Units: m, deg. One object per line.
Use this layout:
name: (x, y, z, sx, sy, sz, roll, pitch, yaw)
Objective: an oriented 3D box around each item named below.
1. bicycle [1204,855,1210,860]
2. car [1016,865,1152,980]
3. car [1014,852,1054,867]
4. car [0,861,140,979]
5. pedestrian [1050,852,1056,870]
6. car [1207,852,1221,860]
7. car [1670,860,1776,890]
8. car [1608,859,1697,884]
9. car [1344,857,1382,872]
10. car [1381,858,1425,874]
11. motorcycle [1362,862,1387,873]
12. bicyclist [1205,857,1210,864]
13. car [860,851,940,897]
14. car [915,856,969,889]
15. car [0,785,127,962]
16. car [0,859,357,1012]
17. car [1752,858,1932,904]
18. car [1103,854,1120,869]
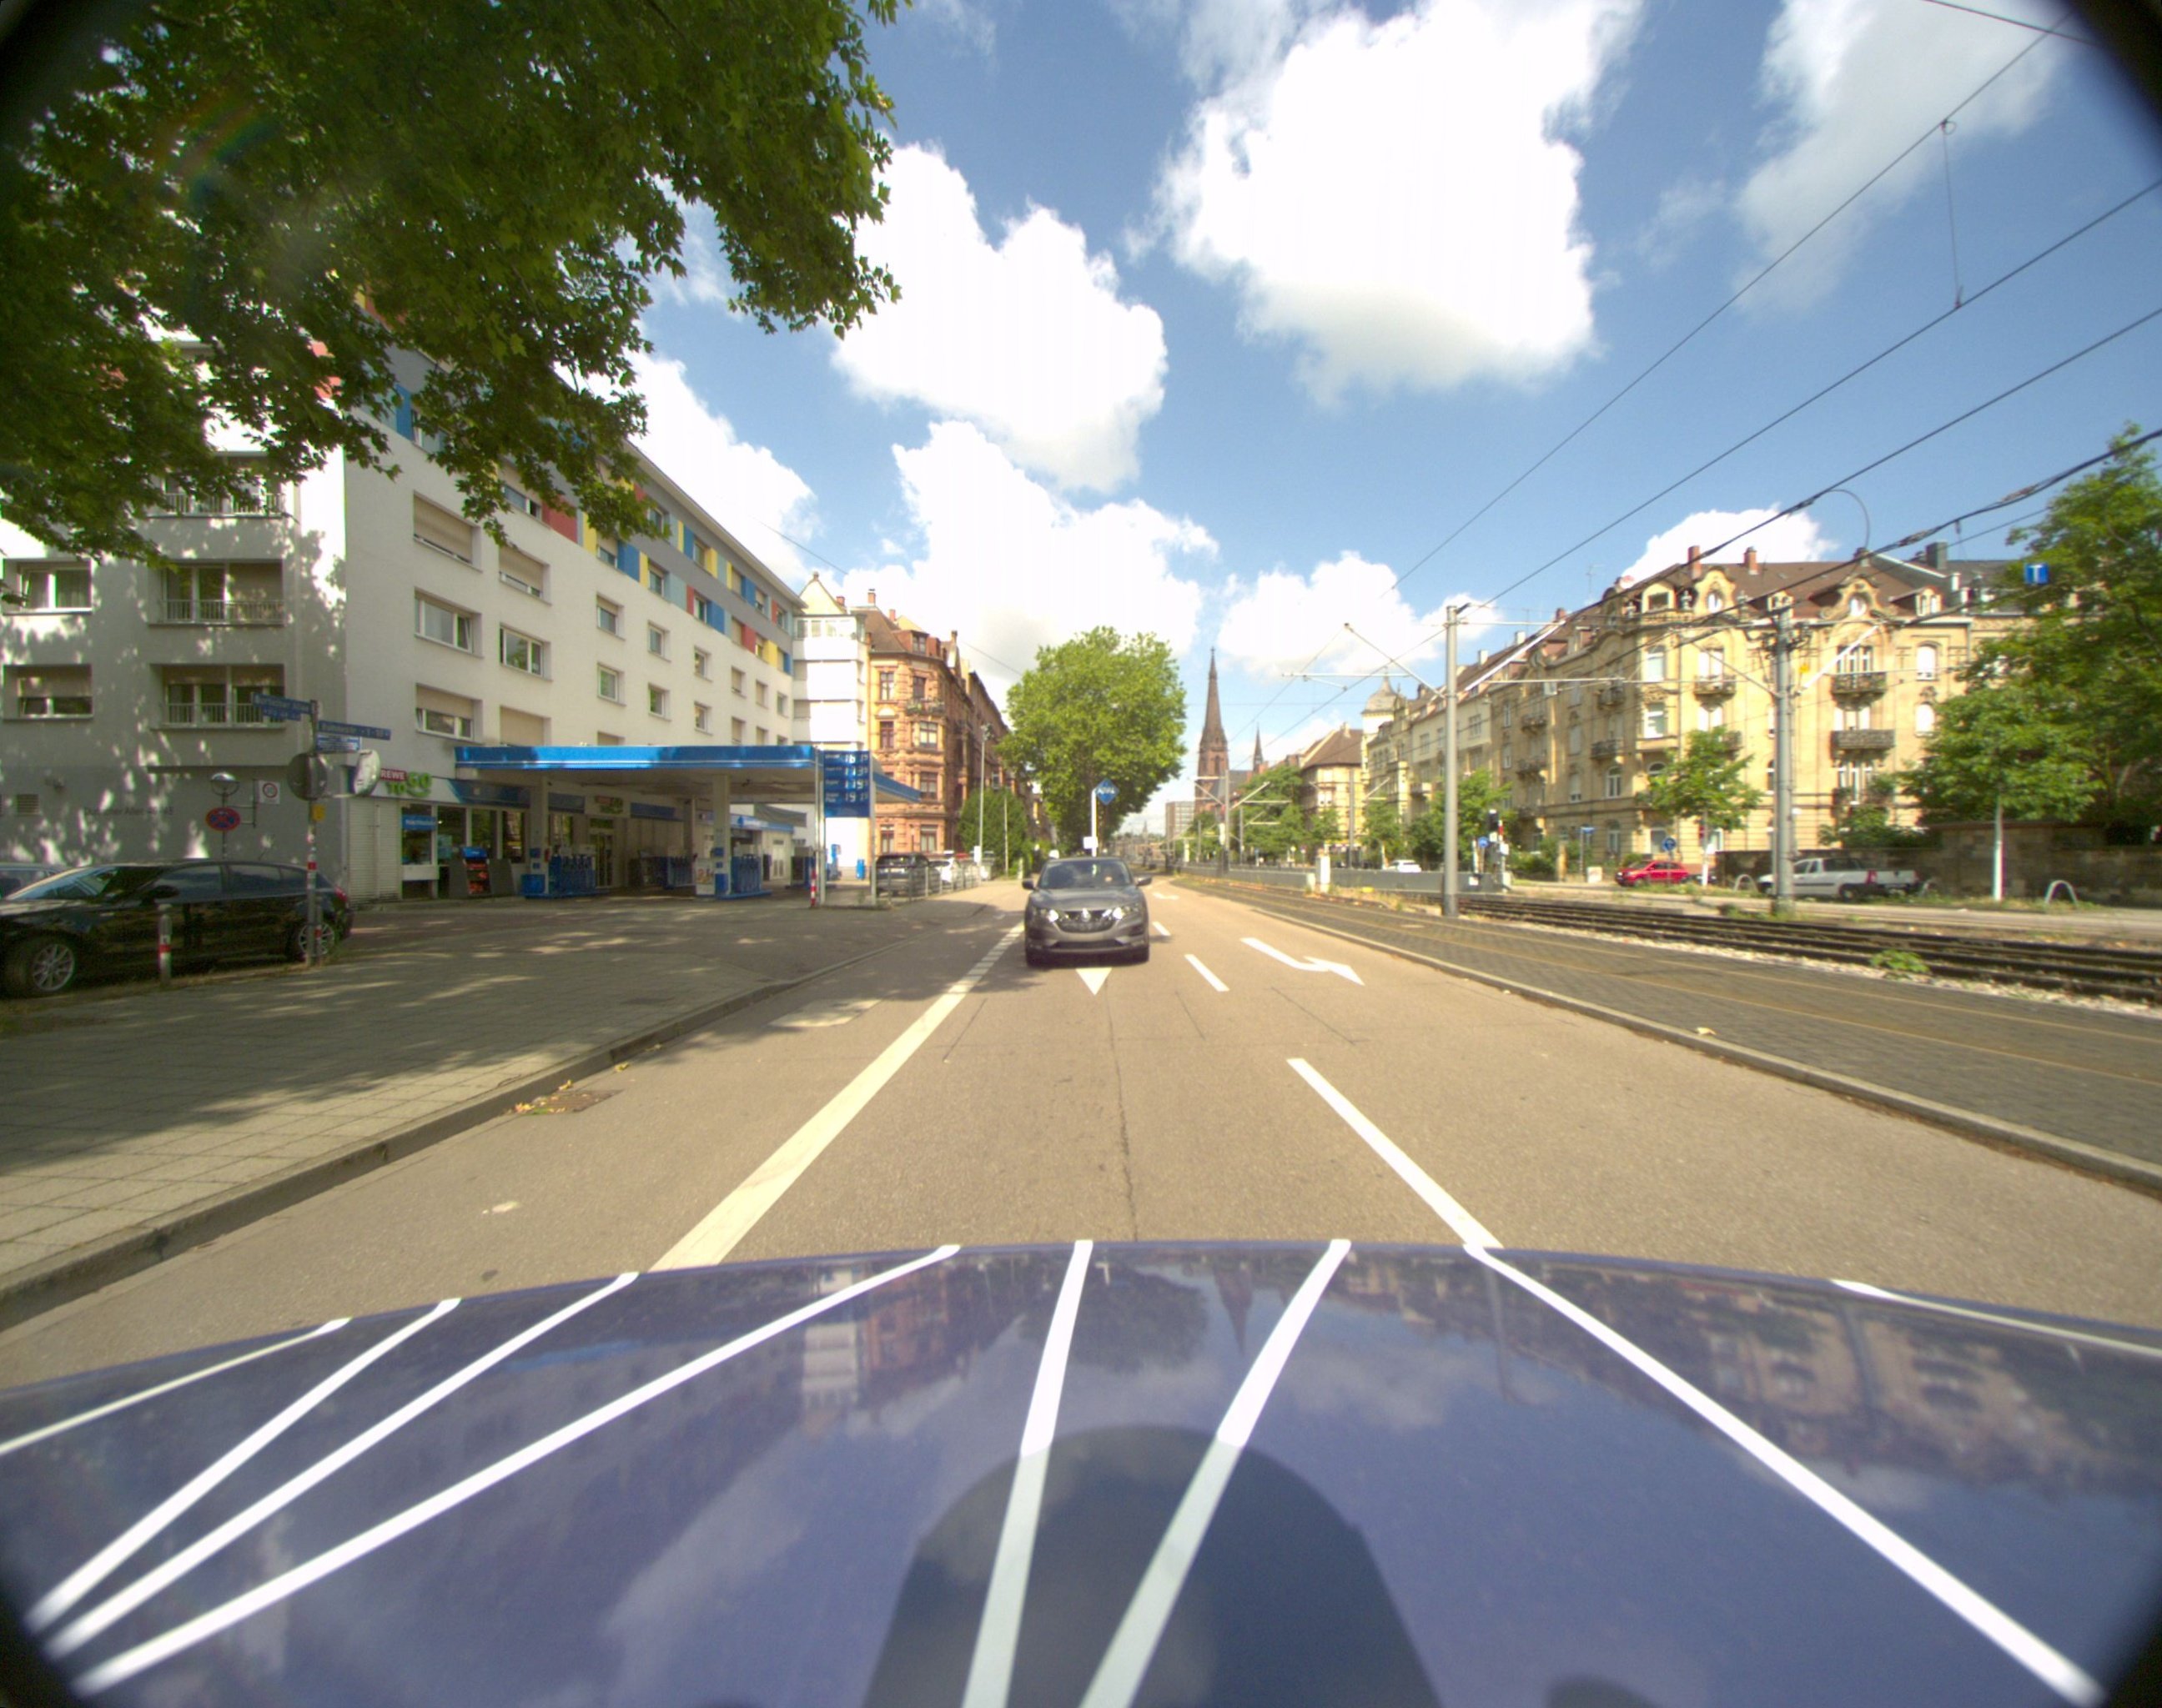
bicycle: (24.777, 0.695, 149.157, 0.778, 0.973, 2.141, 2, 0, 1)
car: (0.077, 0.945, 12.385, 1.800, 1.454, 4.567, 0, 0, 1)
car: (-5.794, 0.685, 93.480, 4.735, 1.772, 2.004, -1, 0, -7)
car: (-13.923, 0.806, 8.591, 1.653, 1.421, 4.042, 0, 0, -3)
pedestrian: (-2.771, 0.710, 76.287, 0.565, 1.775, 0.630, 0, 0, 0)
car: (26.920, 0.419, 153.855, 1.998, 1.628, 4.114, 0, 0, 0)
car: (32.989, 1.054, 39.134, 3.972, 1.455, 1.723, 0, 0, 1)
car: (33.672, 1.003, 44.856, 3.788, 1.455, 1.933, 0, 0, 4)
car: (26.900, 0.991, 72.614, 2.025, 1.319, 4.100, 0, 0, -2)
car: (26.933, 0.980, 63.714, 1.756, 1.320, 4.312, 0, 0, -1)
motorcycle: (26.925, 1.194, 69.764, 1.765, 0.936, 1.418, 2, 0, -1)
bicyclist: (24.755, 1.200, 148.935, 0.769, 1.330, 1.049, 2, 0, 1)
car: (-6.741, 0.708, 28.760, 1.810, 1.593, 4.583, -1, 0, 2)
car: (-6.497, 0.843, 35.868, 1.810, 1.447, 4.001, -1, 0, 0)
car: (-16.775, 0.283, 9.437, 2.116, 2.567, 6.020, 0, 0, 2)
car: (-11.240, 0.802, 8.907, 1.653, 1.461, 4.042, 0, 0, 0)
car: (26.795, 0.889, 27.013, 1.936, 1.495, 4.413, 0, 0, -1)
car: (3.079, 0.741, 77.151, 1.557, 1.476, 3.858, 2, 0, 0)
